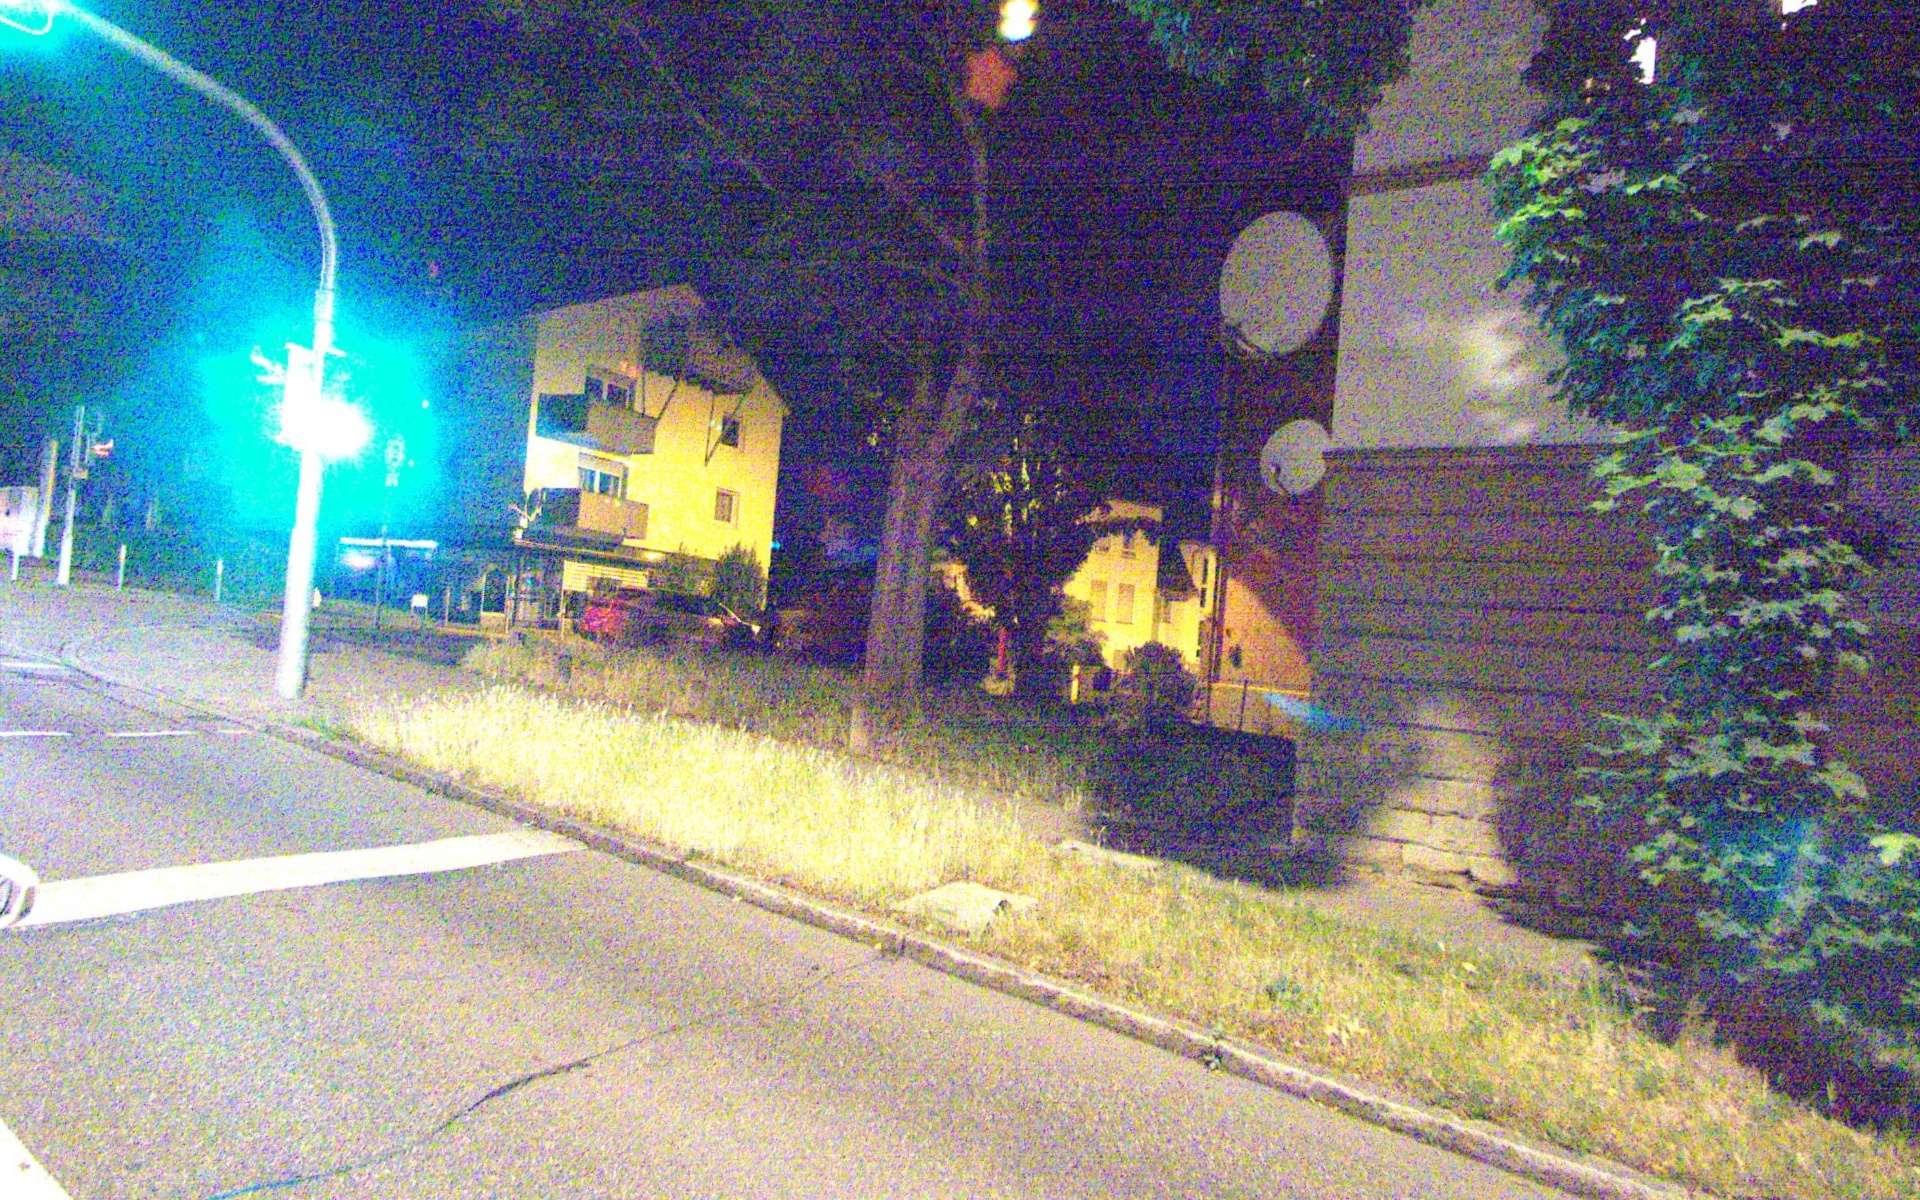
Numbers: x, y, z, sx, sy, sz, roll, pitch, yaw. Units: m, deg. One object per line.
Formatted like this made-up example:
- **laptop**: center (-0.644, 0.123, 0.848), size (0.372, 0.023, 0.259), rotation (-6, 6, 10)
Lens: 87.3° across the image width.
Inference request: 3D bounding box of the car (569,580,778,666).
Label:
- **car**: center (-6.509, 0.583, 23.300), size (1.778, 1.577, 4.366), rotation (3, -3, 38)
